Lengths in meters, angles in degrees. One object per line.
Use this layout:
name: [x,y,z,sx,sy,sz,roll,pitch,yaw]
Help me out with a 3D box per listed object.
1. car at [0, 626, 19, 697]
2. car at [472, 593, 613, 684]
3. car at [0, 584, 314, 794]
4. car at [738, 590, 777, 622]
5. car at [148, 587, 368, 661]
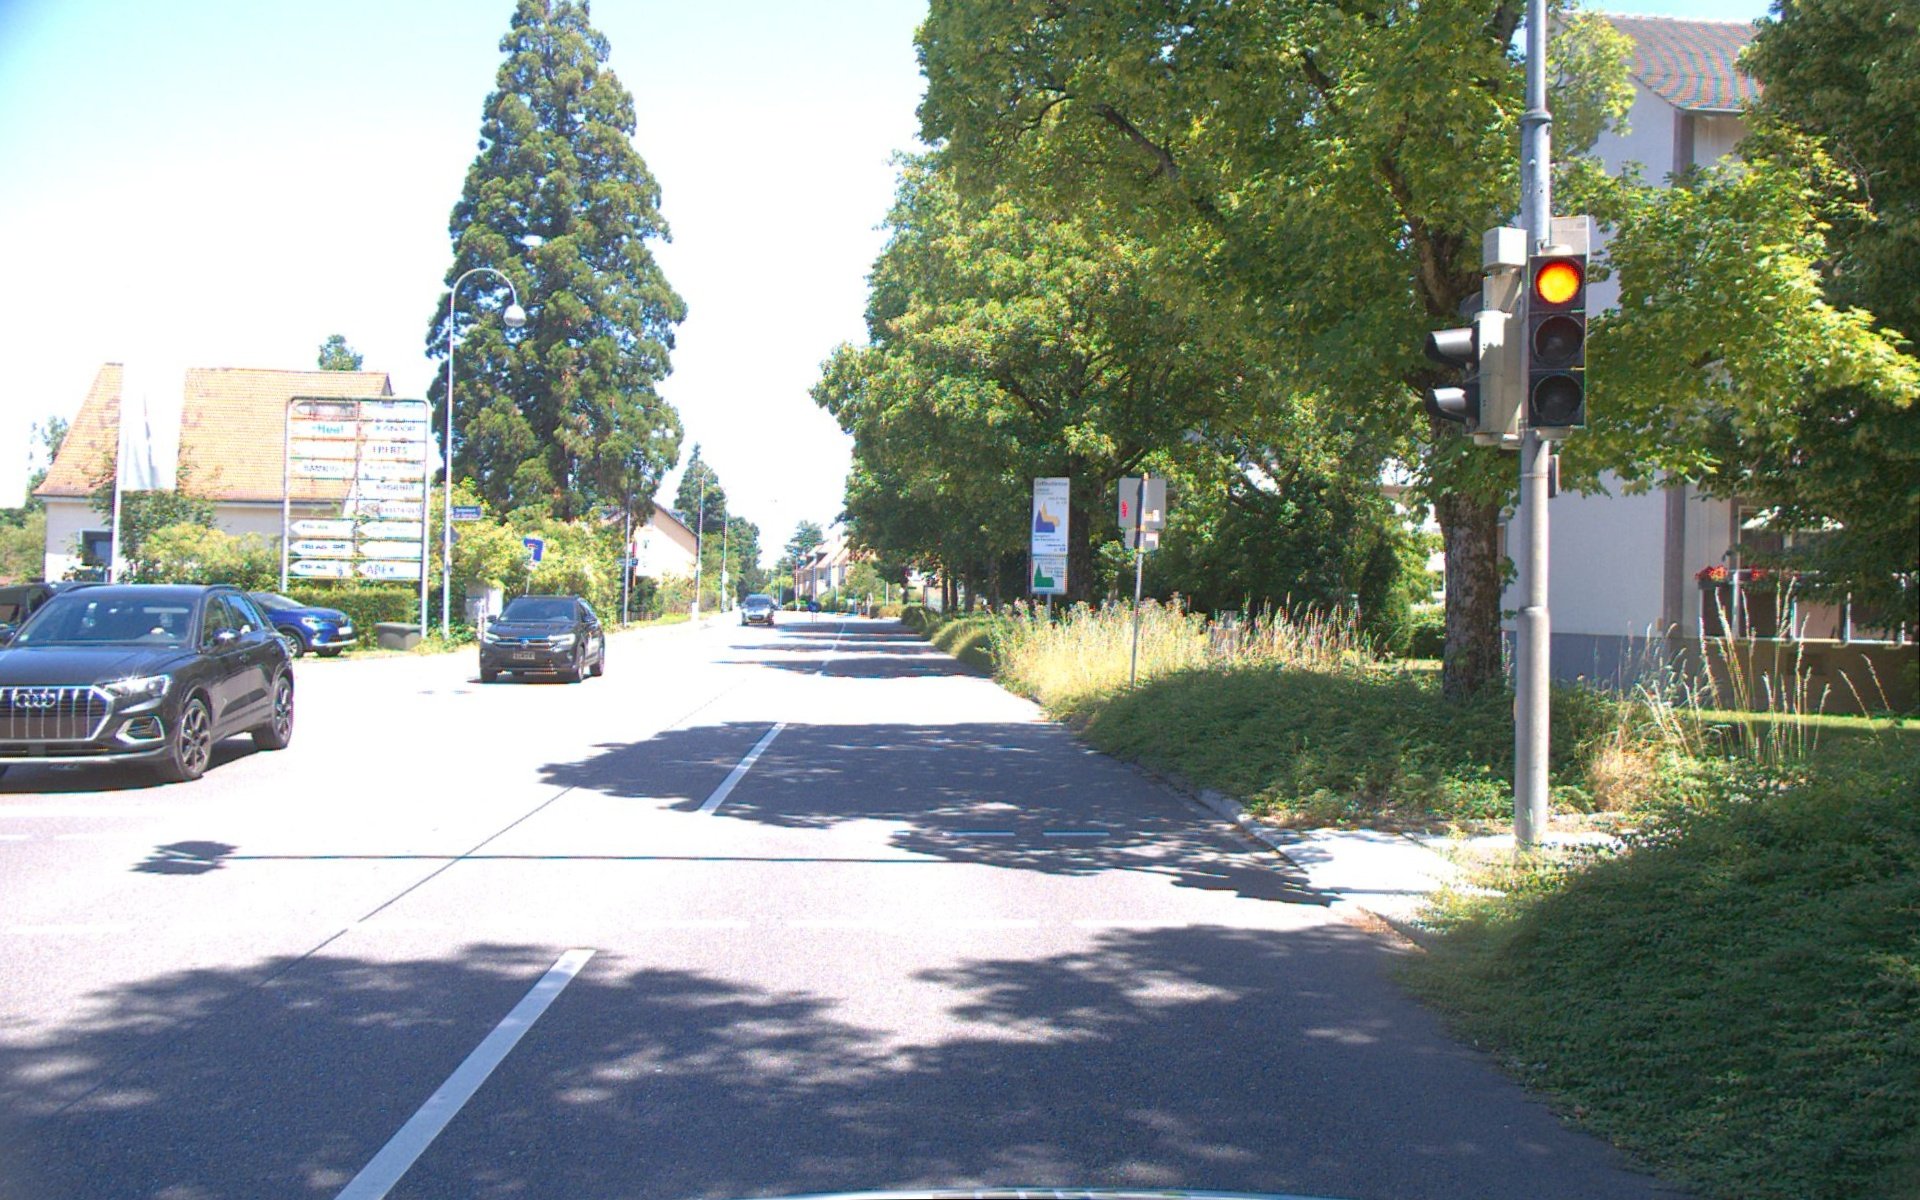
car: [-24.635,1.527,40.082,1.775,1.752,4.081,1,0,-8]
car: [-7.493,0.660,30.033,1.832,1.533,4.049,0,0,-5]
car: [-7.270,0.674,14.654,1.890,1.582,4.295,0,0,-8]
car: [-11.841,0.350,96.964,1.774,1.793,4.569,1,0,-1]
car: [-15.203,0.500,35.908,4.047,1.531,1.779,0,0,8]
